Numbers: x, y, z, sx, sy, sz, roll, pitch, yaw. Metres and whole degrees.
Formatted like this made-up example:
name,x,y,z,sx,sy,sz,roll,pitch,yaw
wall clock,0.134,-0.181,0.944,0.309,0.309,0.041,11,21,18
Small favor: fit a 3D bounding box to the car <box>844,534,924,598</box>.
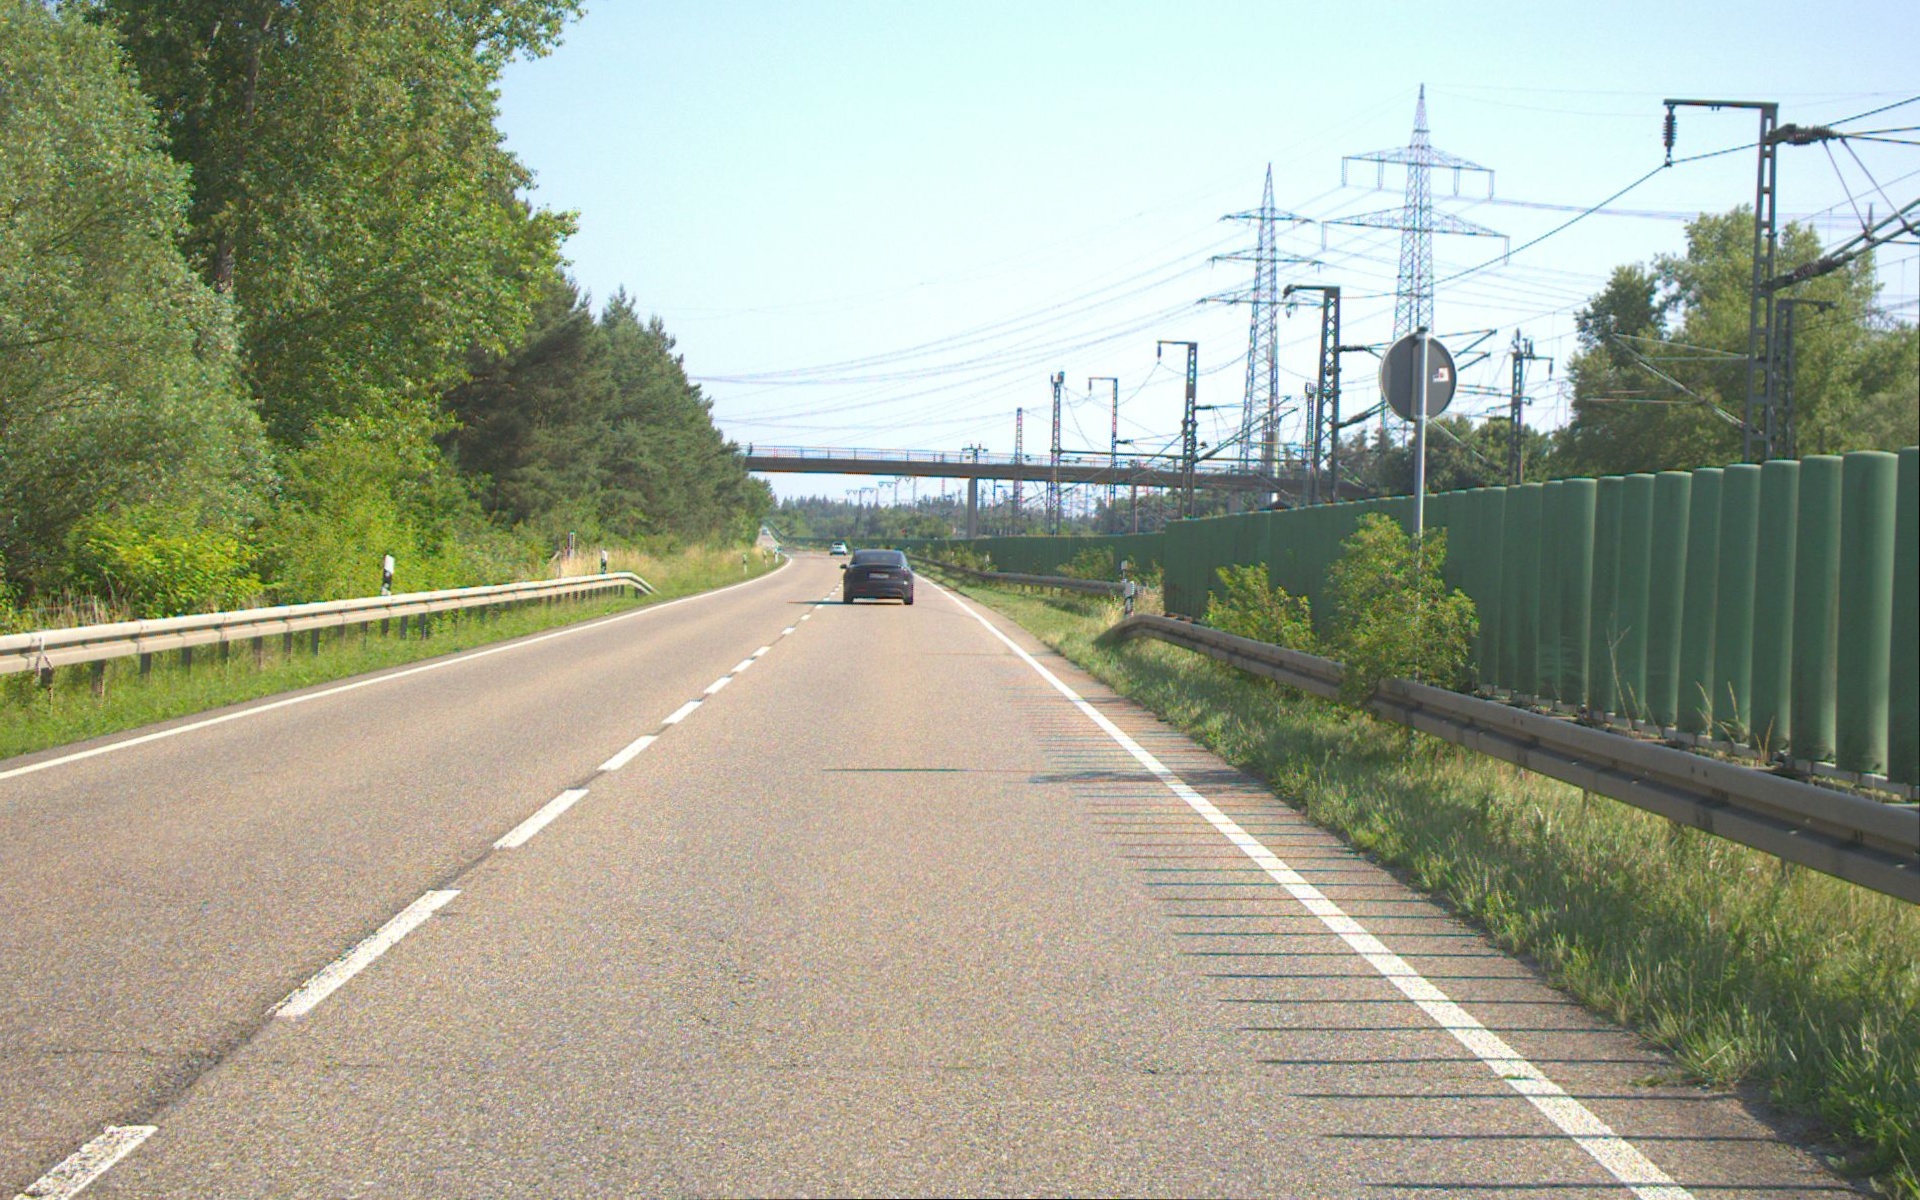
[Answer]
name,x,y,z,sx,sy,sz,roll,pitch,yaw
car,-2.024,-0.907,90.703,1.858,1.636,4.001,0,1,-5
